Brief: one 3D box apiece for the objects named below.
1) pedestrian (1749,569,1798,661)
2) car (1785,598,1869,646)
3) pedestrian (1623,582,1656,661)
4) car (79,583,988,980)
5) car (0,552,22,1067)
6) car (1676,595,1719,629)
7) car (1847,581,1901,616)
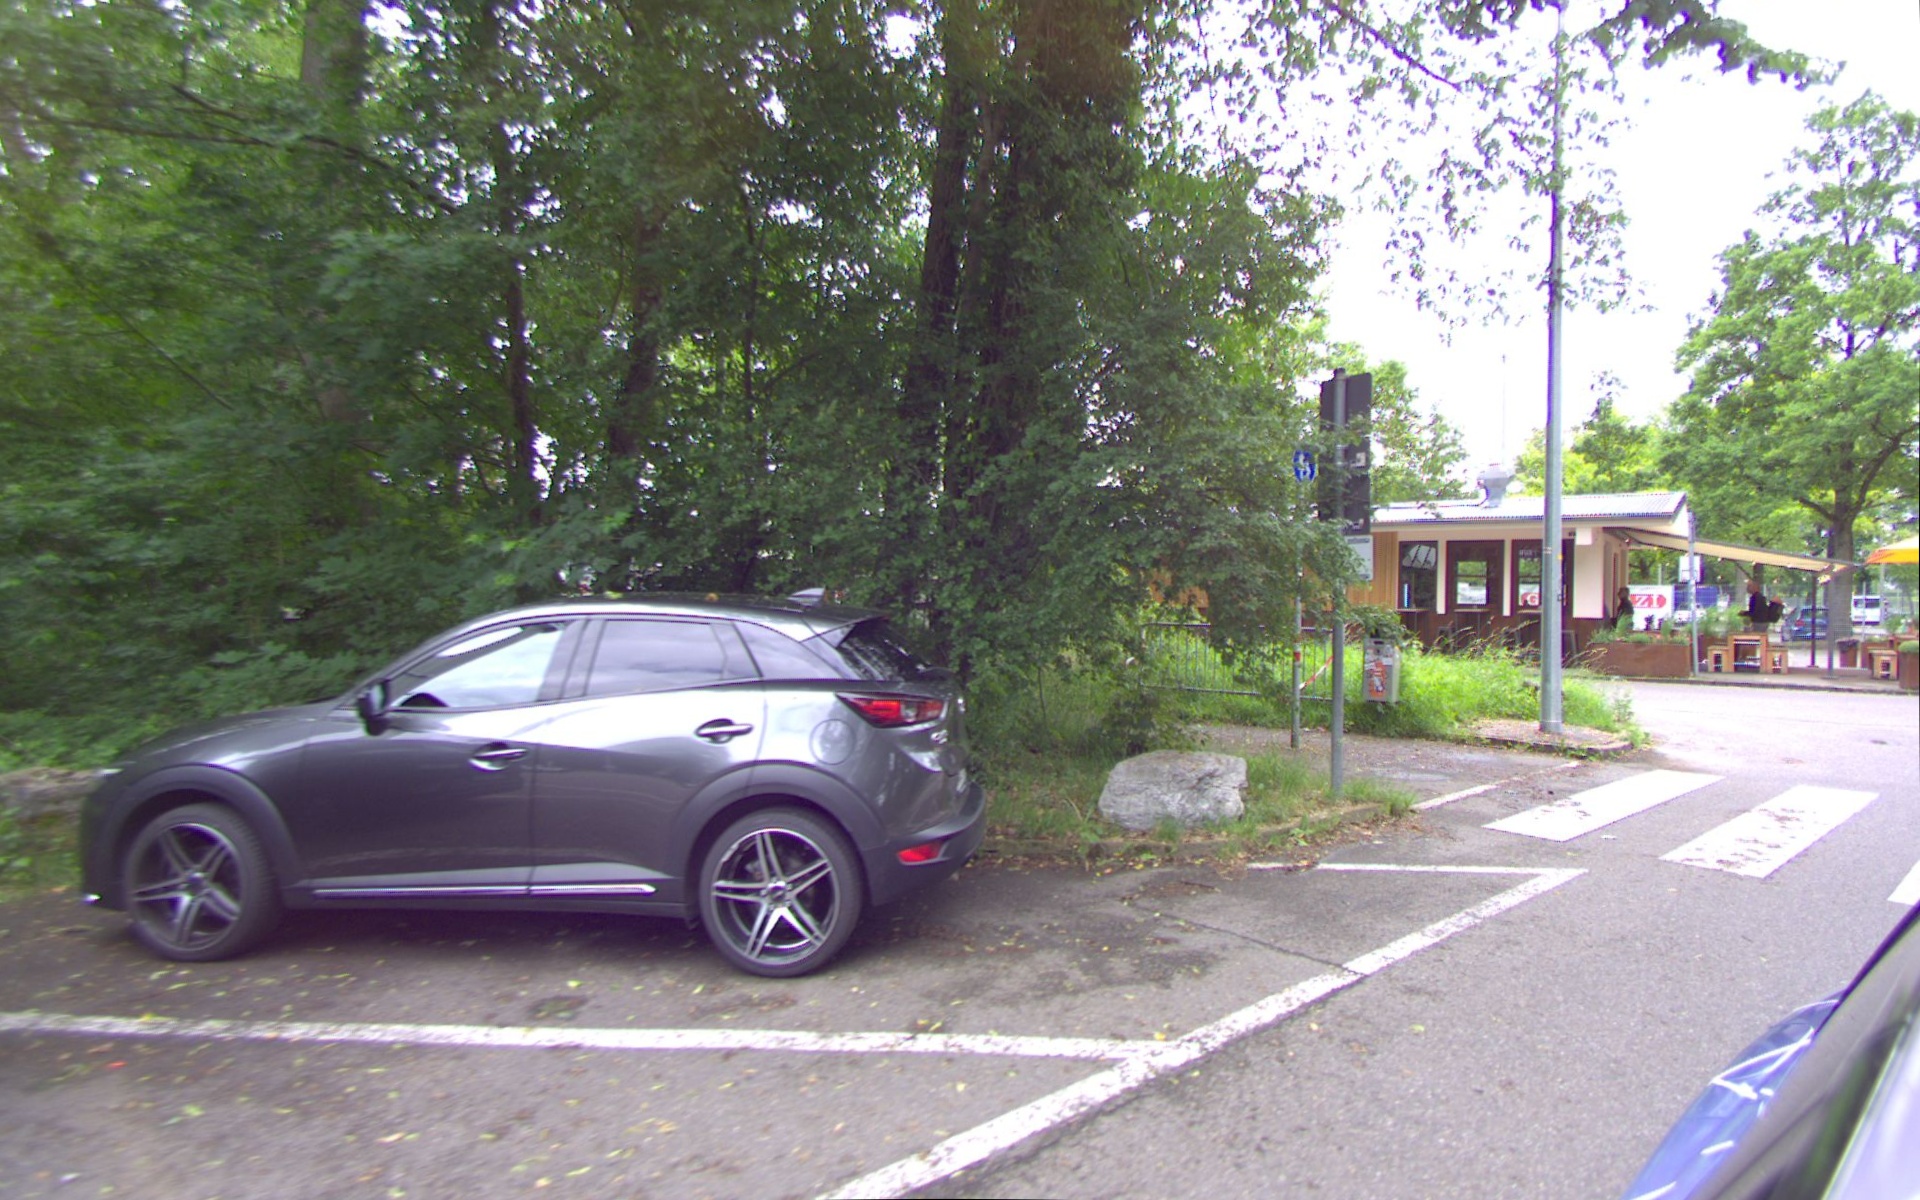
[{"bbox_3d":[16.852,0.298,20.956,0.747,1.854,0.699,0,-1,43],"label":"pedestrian"},{"bbox_3d":[30.507,0.742,35.724,1.989,1.571,3.946,1,0,37],"label":"car"},{"bbox_3d":[14.825,0.456,22.068,0.529,1.688,0.586,0,-1,42],"label":"pedestrian"},{"bbox_3d":[-1.773,0.687,4.911,3.726,1.511,1.697,0,0,6],"label":"car"},{"bbox_3d":[-5.100,0.645,2.402,4.128,1.600,1.955,0,0,5],"label":"car"},{"bbox_3d":[46.033,0.724,63.249,1.986,2.039,3.951,0,0,34],"label":"car"},{"bbox_3d":[56.406,-0.108,62.528,1.865,2.065,4.534,0,0,34],"label":"car"}]
